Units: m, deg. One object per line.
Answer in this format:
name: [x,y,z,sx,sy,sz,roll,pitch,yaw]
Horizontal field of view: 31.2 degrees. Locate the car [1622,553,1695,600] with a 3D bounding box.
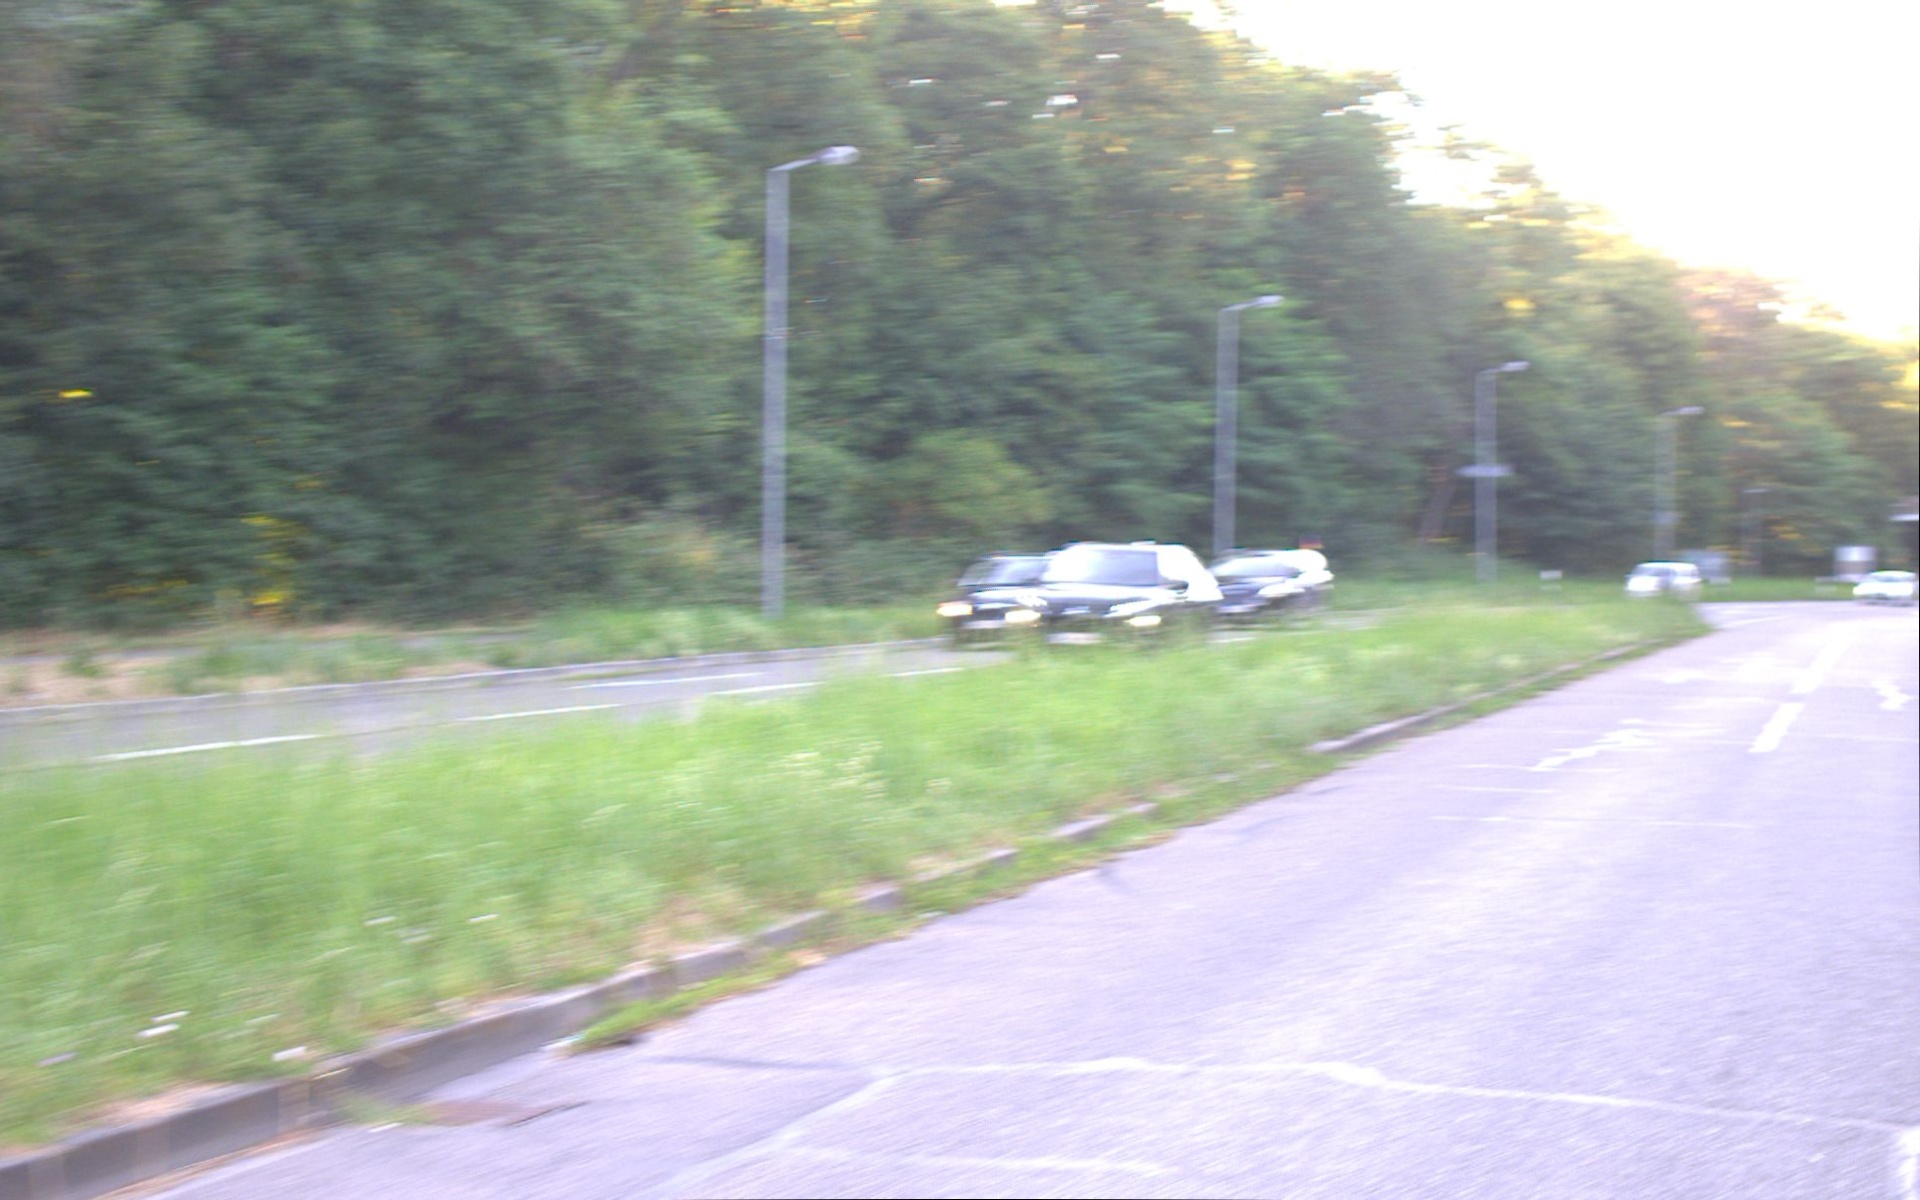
car: [23.477,-0.788,115.463,1.995,1.453,3.807,1,-1,17]

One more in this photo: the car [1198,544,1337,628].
car: [6.189,-0.293,68.742,1.995,1.622,4.648,0,1,15]

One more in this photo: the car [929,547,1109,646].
car: [0.966,-0.072,53.522,1.824,1.475,4.230,0,1,15]

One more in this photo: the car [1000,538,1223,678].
car: [1.926,0.073,42.314,1.815,1.622,4.448,0,1,15]

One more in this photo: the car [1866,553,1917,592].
car: [39.776,-1.164,146.812,1.838,1.502,3.934,1,-1,19]
